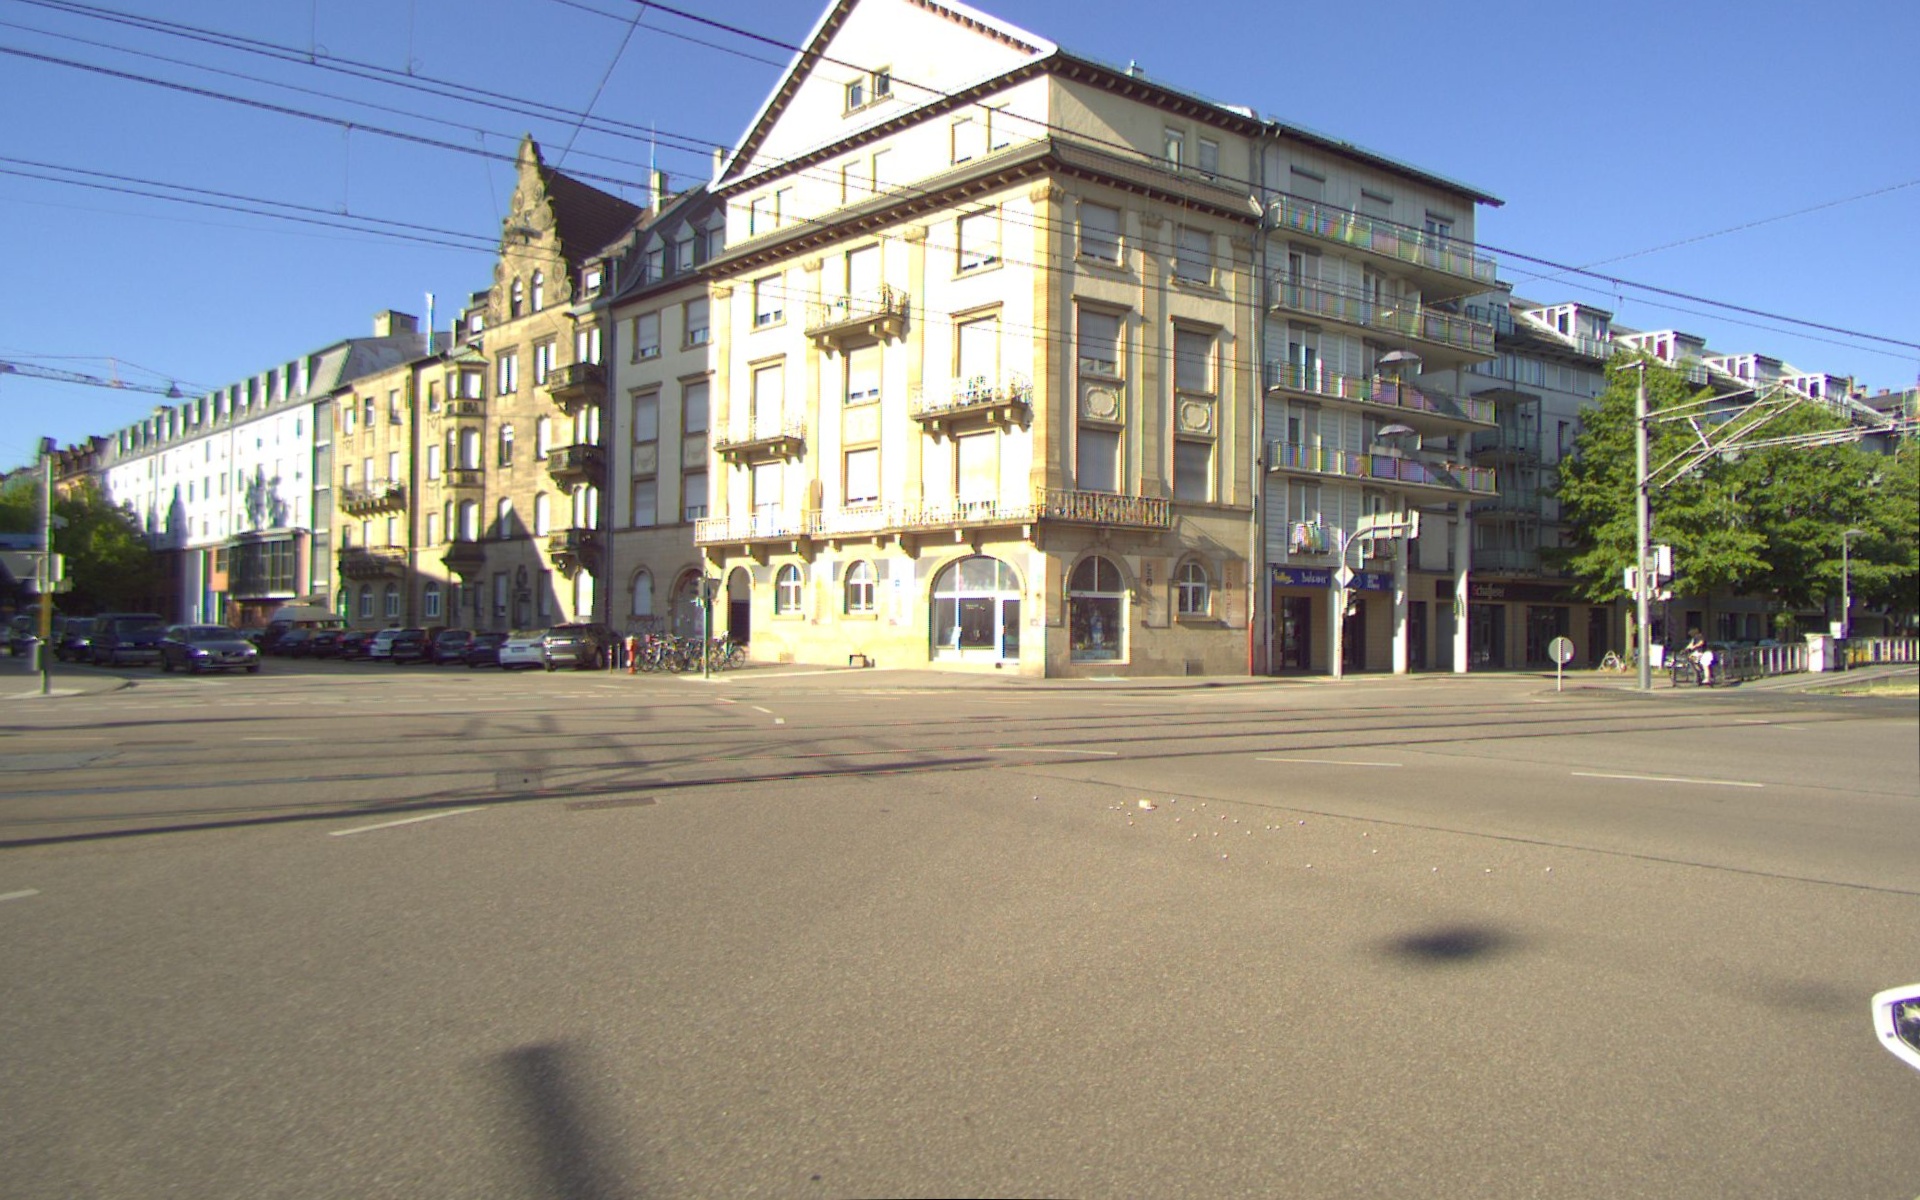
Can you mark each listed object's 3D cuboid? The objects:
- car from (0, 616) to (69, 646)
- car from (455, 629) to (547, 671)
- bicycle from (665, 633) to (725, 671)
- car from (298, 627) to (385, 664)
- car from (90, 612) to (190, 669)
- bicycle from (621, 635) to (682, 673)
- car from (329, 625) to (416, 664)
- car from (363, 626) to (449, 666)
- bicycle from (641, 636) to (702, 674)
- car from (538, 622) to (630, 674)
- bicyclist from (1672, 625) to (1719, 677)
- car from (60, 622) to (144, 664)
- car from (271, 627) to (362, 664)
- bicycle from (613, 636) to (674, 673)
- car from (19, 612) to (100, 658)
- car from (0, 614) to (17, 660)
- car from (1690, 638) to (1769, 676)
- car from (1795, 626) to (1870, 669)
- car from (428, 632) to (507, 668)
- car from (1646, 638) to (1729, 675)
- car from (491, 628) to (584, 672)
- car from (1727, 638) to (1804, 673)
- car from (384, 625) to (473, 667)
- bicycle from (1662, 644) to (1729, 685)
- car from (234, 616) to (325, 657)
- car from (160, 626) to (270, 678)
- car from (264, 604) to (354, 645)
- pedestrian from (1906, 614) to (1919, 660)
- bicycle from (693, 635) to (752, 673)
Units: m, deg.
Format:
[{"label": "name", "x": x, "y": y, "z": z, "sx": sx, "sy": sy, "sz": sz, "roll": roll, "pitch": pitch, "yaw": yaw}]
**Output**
[{"label": "car", "x": -68.772, "y": 2.281, "z": 74.349, "sx": 1.750, "sy": 1.929, "sz": 4.002, "roll": -2, "pitch": 1, "yaw": 7}, {"label": "car", "x": -18.551, "y": 2.002, "z": 40.771, "sx": 1.961, "sy": 1.374, "sz": 3.998, "roll": -3, "pitch": 1, "yaw": -3}, {"label": "bicycle", "x": -8.966, "y": 1.733, "z": 34.021, "sx": 0.520, "sy": 1.206, "sz": 2.120, "roll": 2, "pitch": 0, "yaw": 35}, {"label": "car", "x": -30.099, "y": 2.177, "z": 49.041, "sx": 1.813, "sy": 1.541, "sz": 3.998, "roll": -3, "pitch": 1, "yaw": -2}, {"label": "car", "x": -30.944, "y": 1.471, "z": 37.862, "sx": 4.419, "sy": 1.893, "sz": 1.992, "roll": 2, "pitch": 0, "yaw": 38}, {"label": "bicycle", "x": -10.618, "y": 1.835, "z": 34.619, "sx": 0.520, "sy": 1.206, "sz": 2.120, "roll": 2, "pitch": 0, "yaw": 35}, {"label": "car", "x": -27.651, "y": 2.078, "z": 47.425, "sx": 1.813, "sy": 1.541, "sz": 3.998, "roll": -3, "pitch": 1, "yaw": -2}, {"label": "car", "x": -25.466, "y": 2.074, "z": 46.328, "sx": 1.813, "sy": 1.541, "sz": 3.998, "roll": -3, "pitch": 1, "yaw": -2}, {"label": "bicycle", "x": -9.826, "y": 1.870, "z": 34.266, "sx": 0.544, "sy": 1.206, "sz": 2.120, "roll": 2, "pitch": 0, "yaw": 35}, {"label": "car", "x": -13.663, "y": 1.693, "z": 36.755, "sx": 1.961, "sy": 1.606, "sz": 3.998, "roll": -3, "pitch": 1, "yaw": -3}, {"label": "bicyclist", "x": 20.189, "y": 1.397, "z": 27.582, "sx": 1.002, "sy": 1.390, "sz": 0.533, "roll": 1, "pitch": 0, "yaw": -17}, {"label": "car", "x": -35.563, "y": 1.737, "z": 41.605, "sx": 4.273, "sy": 1.523, "sz": 1.835, "roll": 2, "pitch": 0, "yaw": 38}, {"label": "car", "x": -32.235, "y": 2.257, "z": 50.449, "sx": 1.812, "sy": 1.541, "sz": 4.000, "roll": -3, "pitch": 1, "yaw": 2}, {"label": "bicycle", "x": -11.085, "y": 1.891, "z": 35.248, "sx": 0.520, "sy": 1.206, "sz": 2.119, "roll": 2, "pitch": 0, "yaw": 37}, {"label": "car", "x": -41.782, "y": 1.567, "z": 46.573, "sx": 4.832, "sy": 1.893, "sz": 1.992, "roll": 2, "pitch": 0, "yaw": 38}, {"label": "car", "x": -44.019, "y": 1.619, "z": 44.933, "sx": 4.832, "sy": 1.893, "sz": 1.992, "roll": 2, "pitch": 0, "yaw": 38}, {"label": "car", "x": 38.241, "y": 2.817, "z": 49.915, "sx": 3.739, "sy": 1.699, "sz": 1.798, "roll": 2, "pitch": 0, "yaw": -29}, {"label": "car", "x": 48.218, "y": 2.618, "z": 55.499, "sx": 3.739, "sy": 2.195, "sz": 1.932, "roll": 2, "pitch": 0, "yaw": -29}, {"label": "car", "x": -20.826, "y": 2.099, "z": 42.659, "sx": 1.560, "sy": 1.227, "sz": 3.789, "roll": -3, "pitch": 1, "yaw": -2}, {"label": "car", "x": 34.660, "y": 2.674, "z": 47.862, "sx": 3.739, "sy": 1.599, "sz": 1.798, "roll": 2, "pitch": 0, "yaw": -29}, {"label": "car", "x": -16.154, "y": 1.887, "z": 38.664, "sx": 1.961, "sy": 1.374, "sz": 3.998, "roll": -3, "pitch": 1, "yaw": -3}, {"label": "car", "x": 41.596, "y": 2.839, "z": 51.846, "sx": 3.739, "sy": 1.657, "sz": 1.798, "roll": 2, "pitch": 0, "yaw": -29}, {"label": "car", "x": -23.154, "y": 1.968, "z": 43.920, "sx": 1.813, "sy": 1.541, "sz": 3.998, "roll": -3, "pitch": 1, "yaw": -2}, {"label": "bicycle", "x": 20.209, "y": 1.763, "z": 27.595, "sx": 1.795, "sy": 1.067, "sz": 0.533, "roll": 1, "pitch": 0, "yaw": -17}, {"label": "car", "x": -36.217, "y": 1.926, "z": 53.586, "sx": 1.750, "sy": 1.929, "sz": 4.002, "roll": -2, "pitch": 1, "yaw": 7}, {"label": "car", "x": -24.408, "y": 1.638, "z": 32.870, "sx": 4.219, "sy": 1.438, "sz": 1.835, "roll": 1, "pitch": 0, "yaw": 38}, {"label": "car", "x": -34.139, "y": 1.255, "z": 52.799, "sx": 1.750, "sy": 1.929, "sz": 4.002, "roll": -2, "pitch": 1, "yaw": 7}, {"label": "pedestrian", "x": 33.929, "y": 1.312, "z": 35.194, "sx": 0.947, "sy": 1.602, "sz": 0.895, "roll": 1, "pitch": 0, "yaw": -31}, {"label": "bicycle", "x": -8.062, "y": 1.829, "z": 34.151, "sx": 0.520, "sy": 1.206, "sz": 2.120, "roll": 2, "pitch": 0, "yaw": 35}]
